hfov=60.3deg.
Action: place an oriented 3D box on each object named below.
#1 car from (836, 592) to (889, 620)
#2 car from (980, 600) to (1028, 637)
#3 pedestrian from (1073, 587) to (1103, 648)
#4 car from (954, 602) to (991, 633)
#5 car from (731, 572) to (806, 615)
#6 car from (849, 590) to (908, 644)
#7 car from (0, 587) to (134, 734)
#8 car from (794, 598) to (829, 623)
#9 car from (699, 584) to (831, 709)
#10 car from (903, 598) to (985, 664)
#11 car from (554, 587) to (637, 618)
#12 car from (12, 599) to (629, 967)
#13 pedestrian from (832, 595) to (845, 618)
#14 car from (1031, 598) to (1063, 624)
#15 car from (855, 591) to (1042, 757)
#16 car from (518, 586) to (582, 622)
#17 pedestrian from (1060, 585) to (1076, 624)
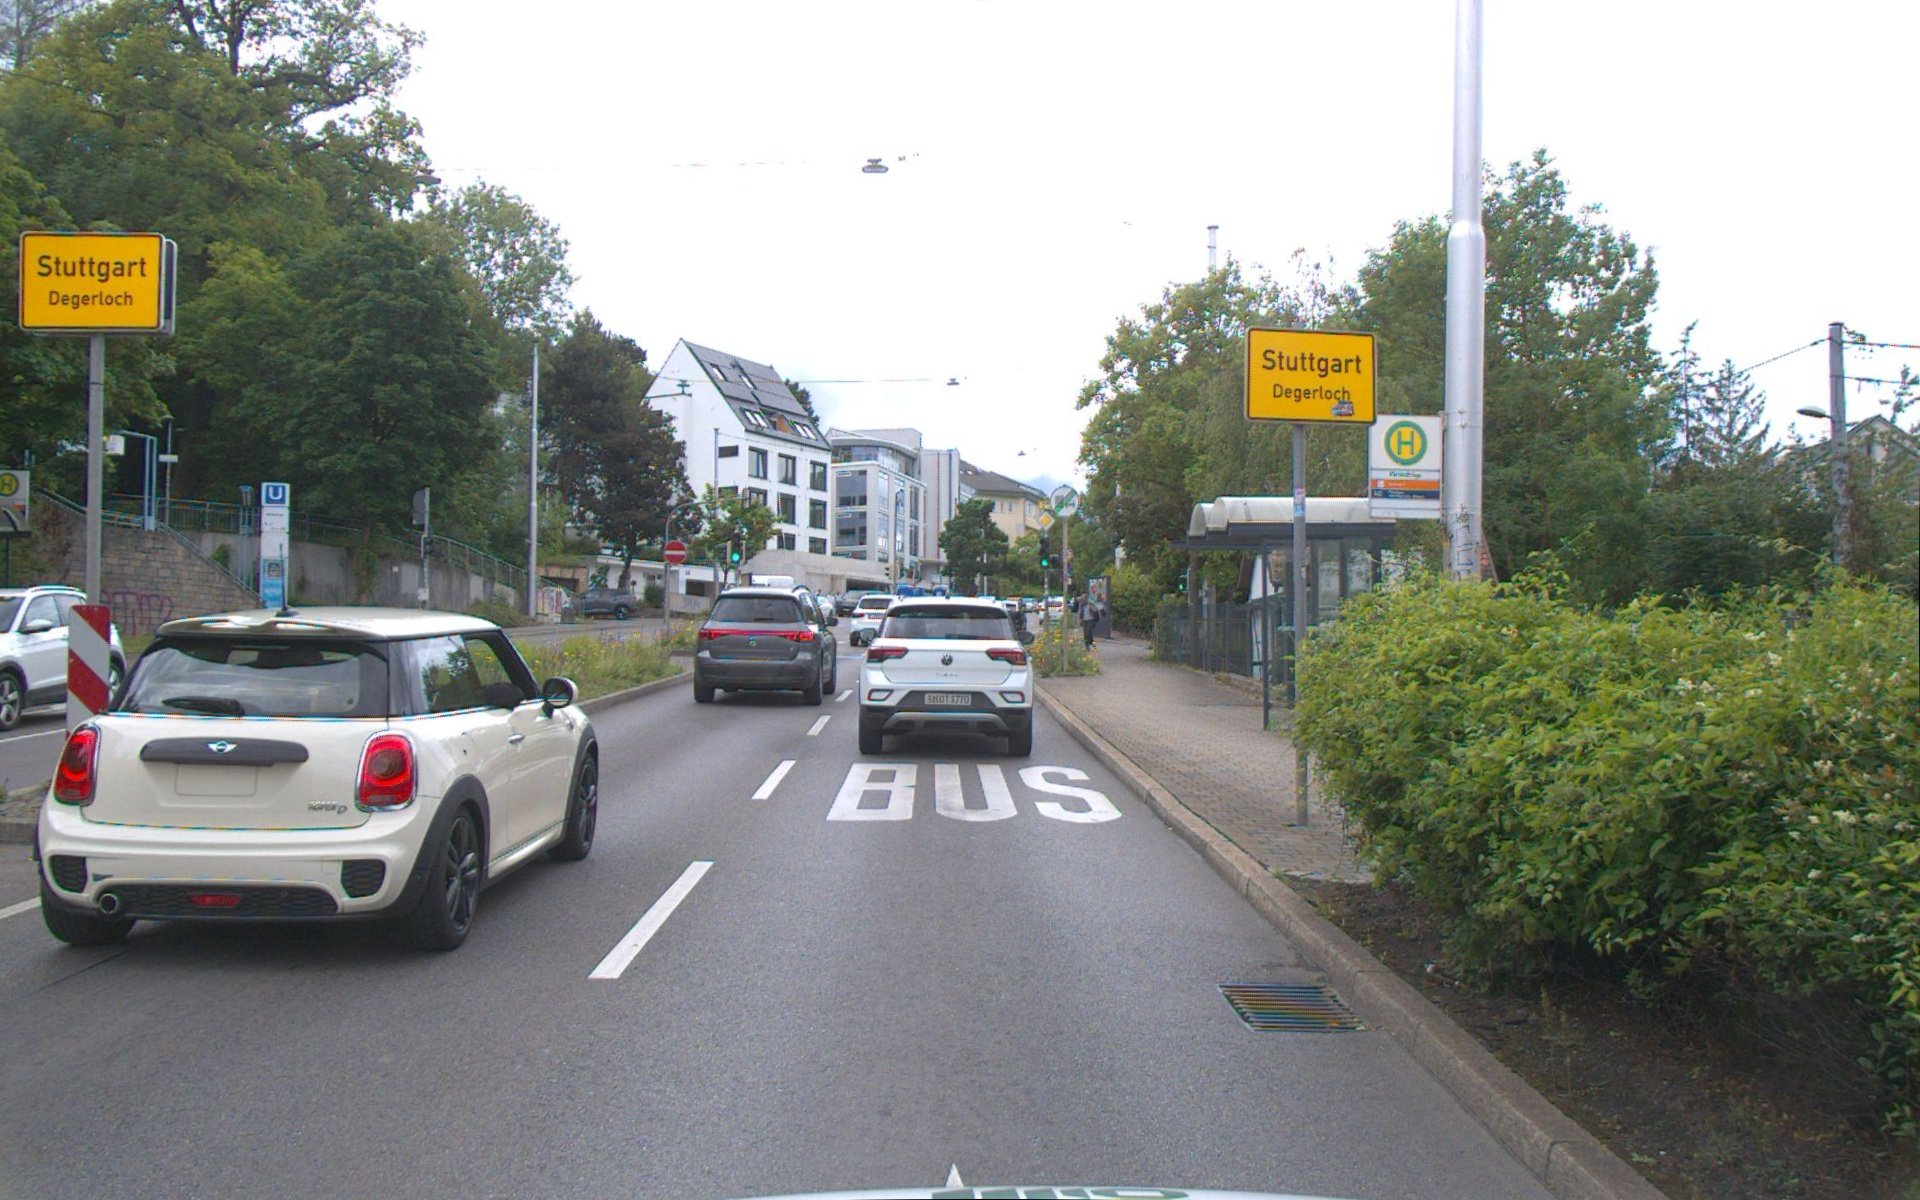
[{"bbox_3d":[-7.020,0.406,119.324,1.941,2.001,5.219,0,0,20],"label":"car"},{"bbox_3d":[1.961,0.801,74.879,1.835,1.527,4.553,3,0,-2],"label":"car"},{"bbox_3d":[3.682,0.509,47.493,0.679,1.718,0.620,-1,-1,21],"label":"pedestrian"},{"bbox_3d":[0.637,0.859,83.199,1.820,1.527,4.056,0,0,1],"label":"car"},{"bbox_3d":[-12.219,-0.405,106.210,2.184,2.613,7.427,0,0,15],"label":"car"},{"bbox_3d":[-2.634,0.534,54.547,1.820,1.681,4.635,0,0,-1],"label":"car"},{"bbox_3d":[-11.188,0.636,18.884,1.695,1.568,4.040,1,0,-4],"label":"car"},{"bbox_3d":[-8.590,0.604,95.812,1.682,1.418,4.608,0,0,-1],"label":"car"},{"bbox_3d":[-2.835,0.634,24.833,1.777,1.681,4.631,0,0,-5],"label":"car"},{"bbox_3d":[-0.470,0.762,43.065,1.836,1.527,4.552,3,0,-3],"label":"car"},{"bbox_3d":[-18.340,0.125,83.309,4.048,1.567,1.593,0,0,-13],"label":"car"},{"bbox_3d":[-2.841,0.710,8.195,1.594,1.418,3.566,0,0,1],"label":"car"},{"bbox_3d":[-8.815,0.456,120.070,0.667,1.669,0.664,2,0,-33],"label":"pedestrian"},{"bbox_3d":[5.172,0.645,98.525,1.819,1.527,4.057,0,0,2],"label":"car"},{"bbox_3d":[-0.179,0.699,17.595,1.775,1.566,3.688,0,0,-2],"label":"car"},{"bbox_3d":[-19.460,0.202,78.526,2.667,1.547,1.552,4,-2,-24],"label":"car"},{"bbox_3d":[5.116,0.210,78.655,0.678,1.866,0.620,2,0,7],"label":"pedestrian"}]
